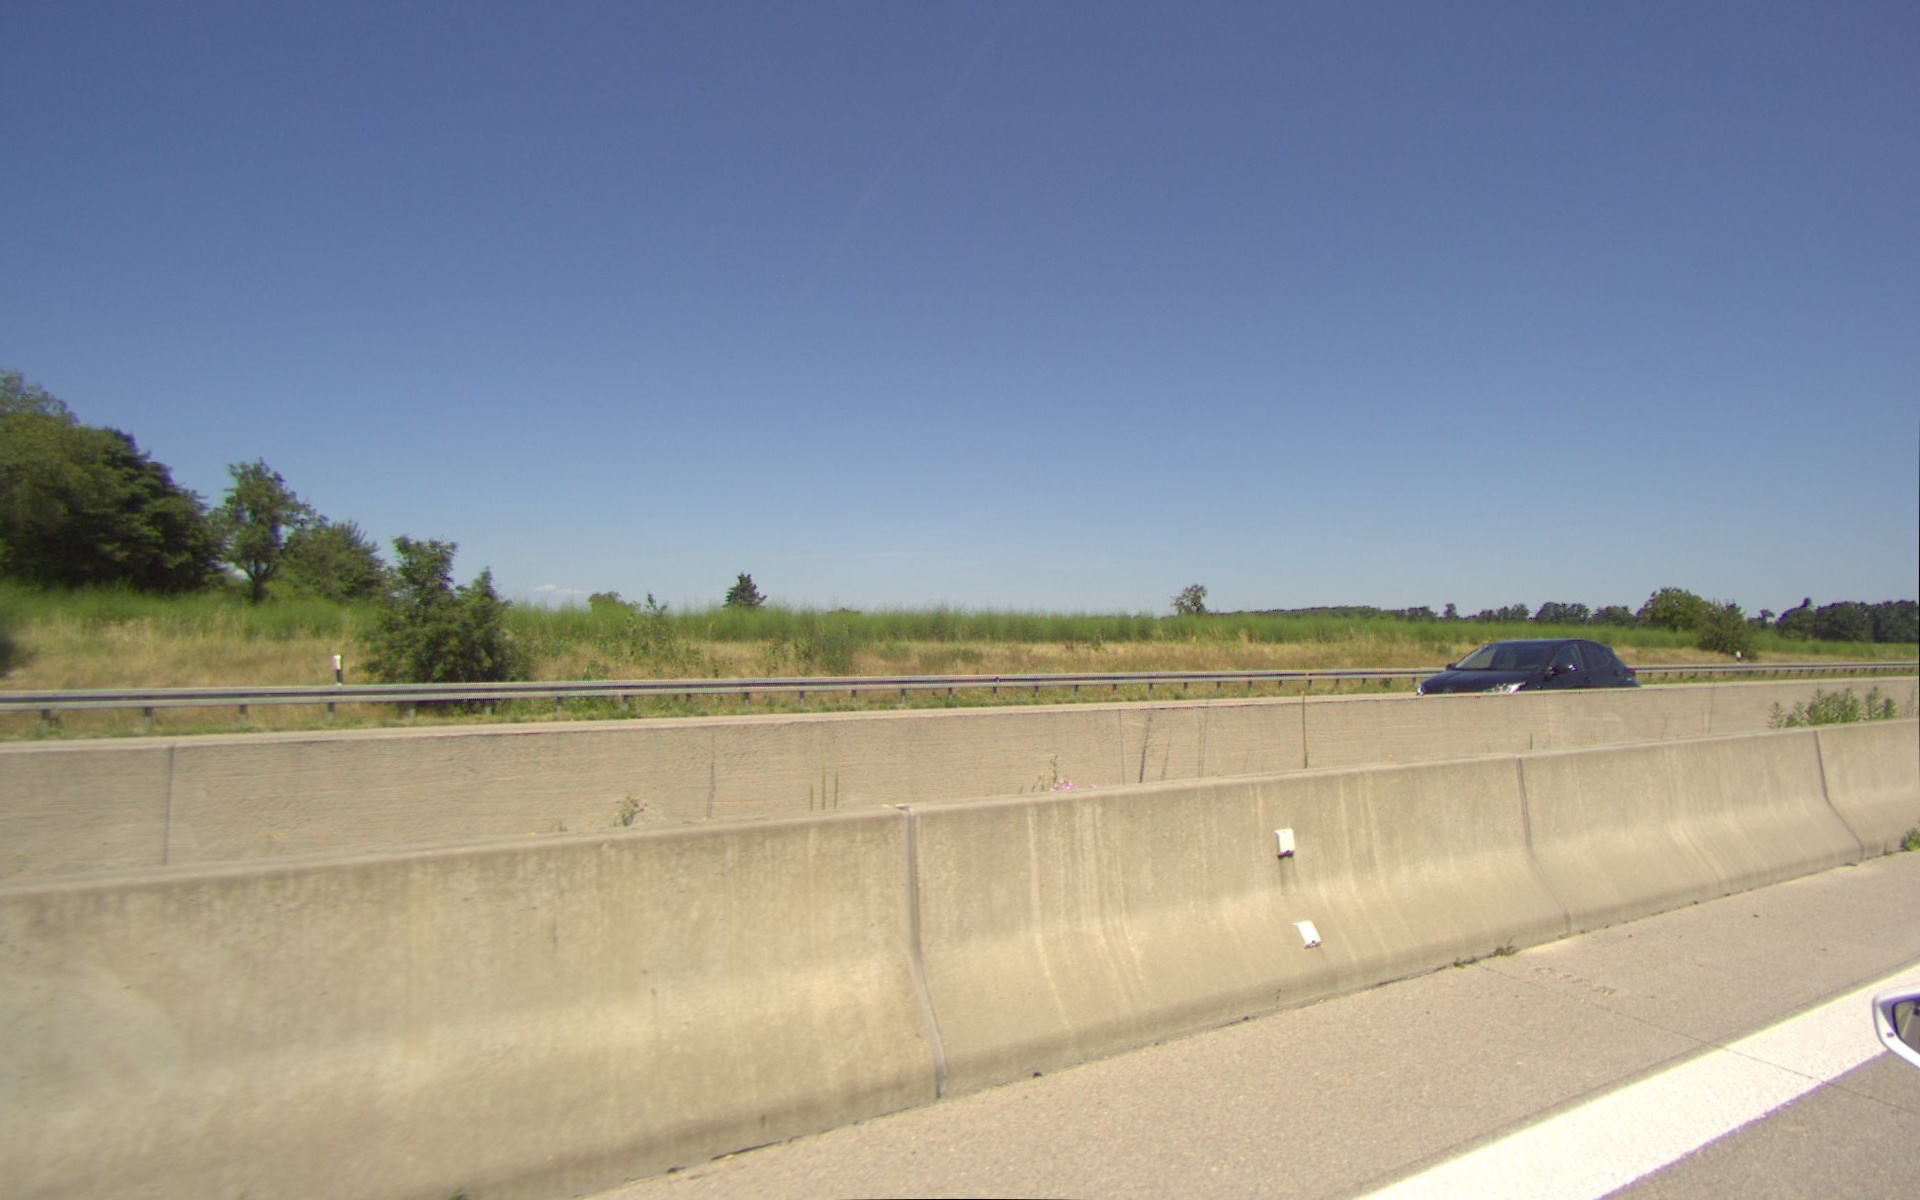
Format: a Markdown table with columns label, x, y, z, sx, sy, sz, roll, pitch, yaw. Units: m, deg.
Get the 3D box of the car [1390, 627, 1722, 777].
| label | x | y | z | sx | sy | sz | roll | pitch | yaw |
| --- | --- | --- | --- | --- | --- | --- | --- | --- | --- |
| car | 9.191 | 1.424 | 15.341 | 5.403 | 1.887 | 1.984 | 2 | 0 | -30 |
